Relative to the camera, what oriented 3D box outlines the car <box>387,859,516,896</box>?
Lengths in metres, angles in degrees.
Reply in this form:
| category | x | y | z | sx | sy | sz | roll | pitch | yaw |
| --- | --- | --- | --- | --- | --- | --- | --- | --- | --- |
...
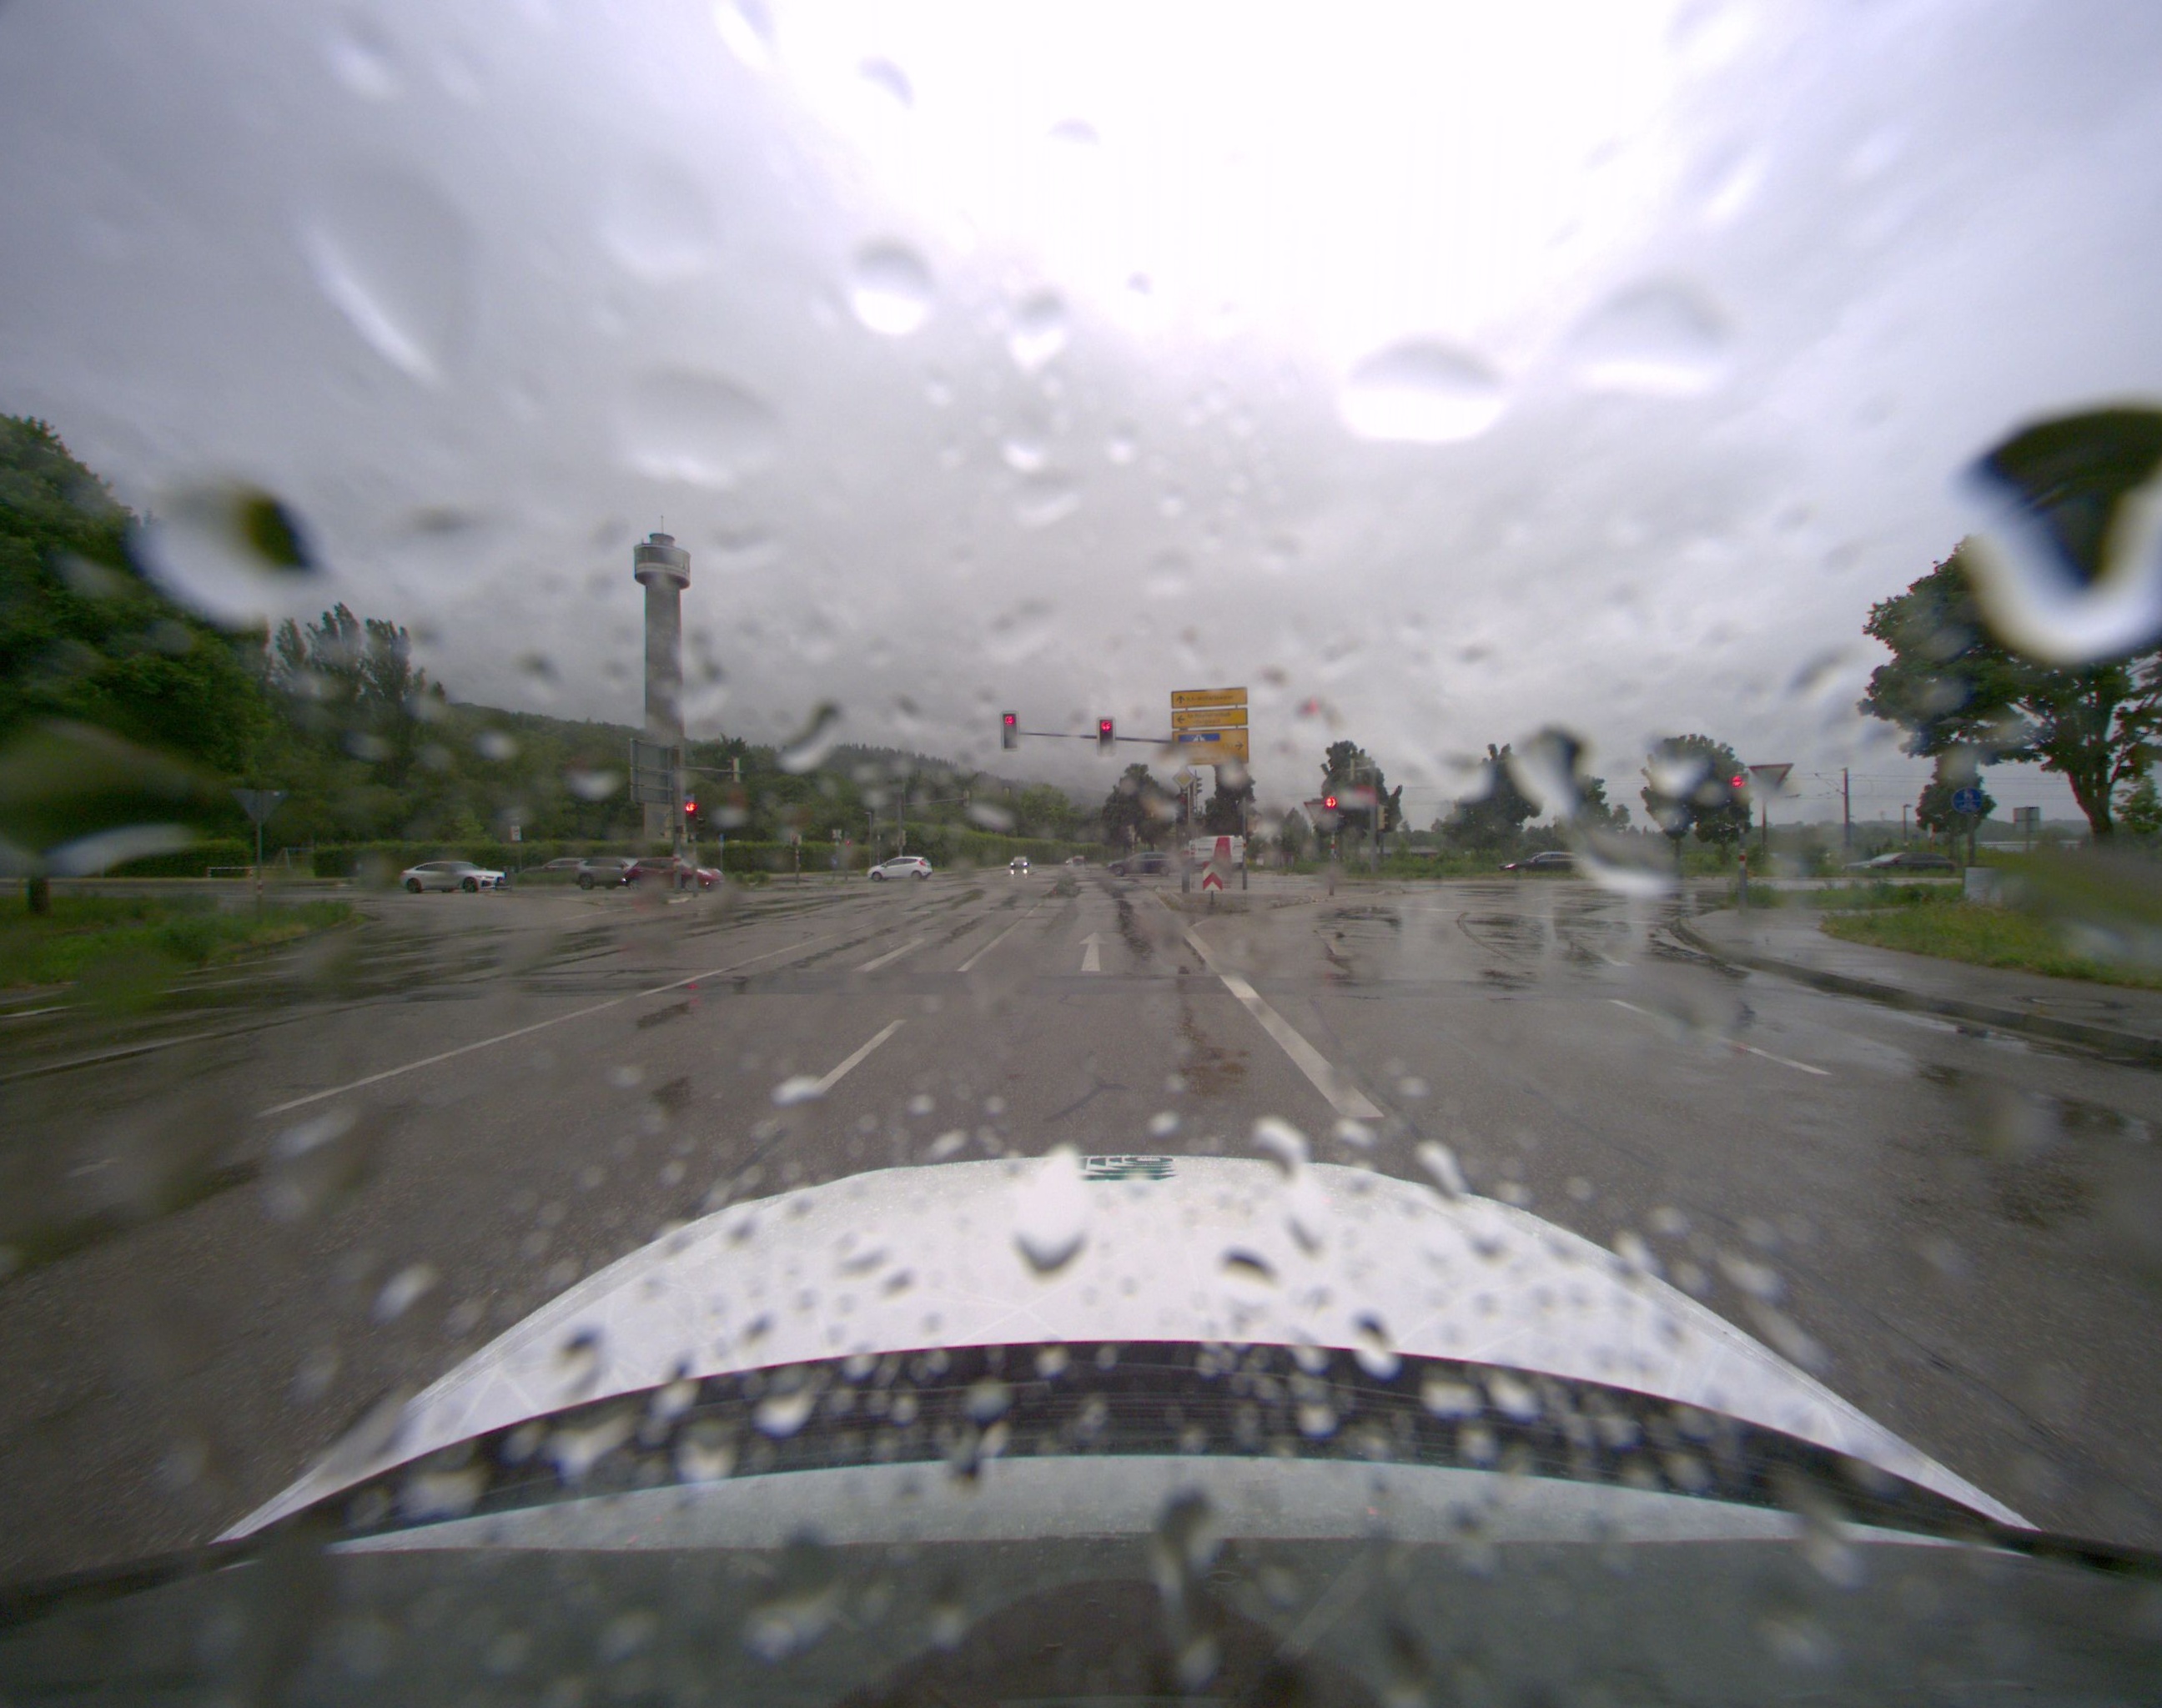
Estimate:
| category | x | y | z | sx | sy | sz | roll | pitch | yaw |
| --- | --- | --- | --- | --- | --- | --- | --- | --- | --- |
| car | -29.004 | 1.077 | 37.561 | 4.853 | 1.553 | 1.804 | -1 | 0 | 8 |

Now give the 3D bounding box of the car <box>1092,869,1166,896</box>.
| category | x | y | z | sx | sy | sz | roll | pitch | yaw |
| --- | --- | --- | --- | --- | --- | --- | --- | --- | --- |
| car | 3.105 | 1.819 | 52.631 | 4.647 | 1.553 | 1.825 | -1 | 0 | 4 |

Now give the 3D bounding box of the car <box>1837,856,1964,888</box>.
| category | x | y | z | sx | sy | sz | roll | pitch | yaw |
| --- | --- | --- | --- | --- | --- | --- | --- | --- | --- |
| car | 44.242 | 0.962 | 44.059 | 4.641 | 1.553 | 1.828 | -1 | 0 | 10 |

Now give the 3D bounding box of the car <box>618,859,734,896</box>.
| category | x | y | z | sx | sy | sz | roll | pitch | yaw |
| --- | --- | --- | --- | --- | --- | --- | --- | --- | --- |
| car | -18.085 | 1.024 | 36.421 | 4.352 | 1.579 | 1.736 | -1 | 0 | 6 |

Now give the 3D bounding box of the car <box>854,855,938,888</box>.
| category | x | y | z | sx | sy | sz | roll | pitch | yaw |
| --- | --- | --- | --- | --- | --- | --- | --- | --- | --- |
| car | -11.380 | 1.086 | 50.381 | 4.649 | 1.915 | 1.917 | -1 | 0 | 3 |

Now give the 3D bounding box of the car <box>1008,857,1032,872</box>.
| category | x | y | z | sx | sy | sz | roll | pitch | yaw |
| --- | --- | --- | --- | --- | --- | --- | --- | --- | --- |
| car | -6.822 | 1.156 | 91.351 | 1.870 | 1.573 | 4.652 | -3 | 0 | 6 |

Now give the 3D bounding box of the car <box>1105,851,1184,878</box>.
| category | x | y | z | sx | sy | sz | roll | pitch | yaw |
| --- | --- | --- | --- | --- | --- | --- | --- | --- | --- |
| car | 3.837 | 0.621 | 49.169 | 4.645 | 1.553 | 1.826 | -1 | 0 | 6 |

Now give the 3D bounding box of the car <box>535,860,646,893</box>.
| category | x | y | z | sx | sy | sz | roll | pitch | yaw |
| --- | --- | --- | --- | --- | --- | --- | --- | --- | --- |
| car | -24.473 | 1.097 | 40.712 | 4.501 | 1.579 | 1.917 | 0 | 0 | 8 |

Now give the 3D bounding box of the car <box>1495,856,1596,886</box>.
| category | x | y | z | sx | sy | sz | roll | pitch | yaw |
| --- | --- | --- | --- | --- | --- | --- | --- | --- | --- |
| car | 26.389 | 0.947 | 46.385 | 4.648 | 1.553 | 1.825 | -1 | 0 | 4 |

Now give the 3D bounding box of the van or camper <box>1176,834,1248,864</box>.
| category | x | y | z | sx | sy | sz | roll | pitch | yaw |
| --- | --- | --- | --- | --- | --- | --- | --- | --- | --- |
| van or camper | 9.591 | -0.359 | 59.738 | 4.802 | 2.169 | 2.174 | 0 | 1 | 41 |
